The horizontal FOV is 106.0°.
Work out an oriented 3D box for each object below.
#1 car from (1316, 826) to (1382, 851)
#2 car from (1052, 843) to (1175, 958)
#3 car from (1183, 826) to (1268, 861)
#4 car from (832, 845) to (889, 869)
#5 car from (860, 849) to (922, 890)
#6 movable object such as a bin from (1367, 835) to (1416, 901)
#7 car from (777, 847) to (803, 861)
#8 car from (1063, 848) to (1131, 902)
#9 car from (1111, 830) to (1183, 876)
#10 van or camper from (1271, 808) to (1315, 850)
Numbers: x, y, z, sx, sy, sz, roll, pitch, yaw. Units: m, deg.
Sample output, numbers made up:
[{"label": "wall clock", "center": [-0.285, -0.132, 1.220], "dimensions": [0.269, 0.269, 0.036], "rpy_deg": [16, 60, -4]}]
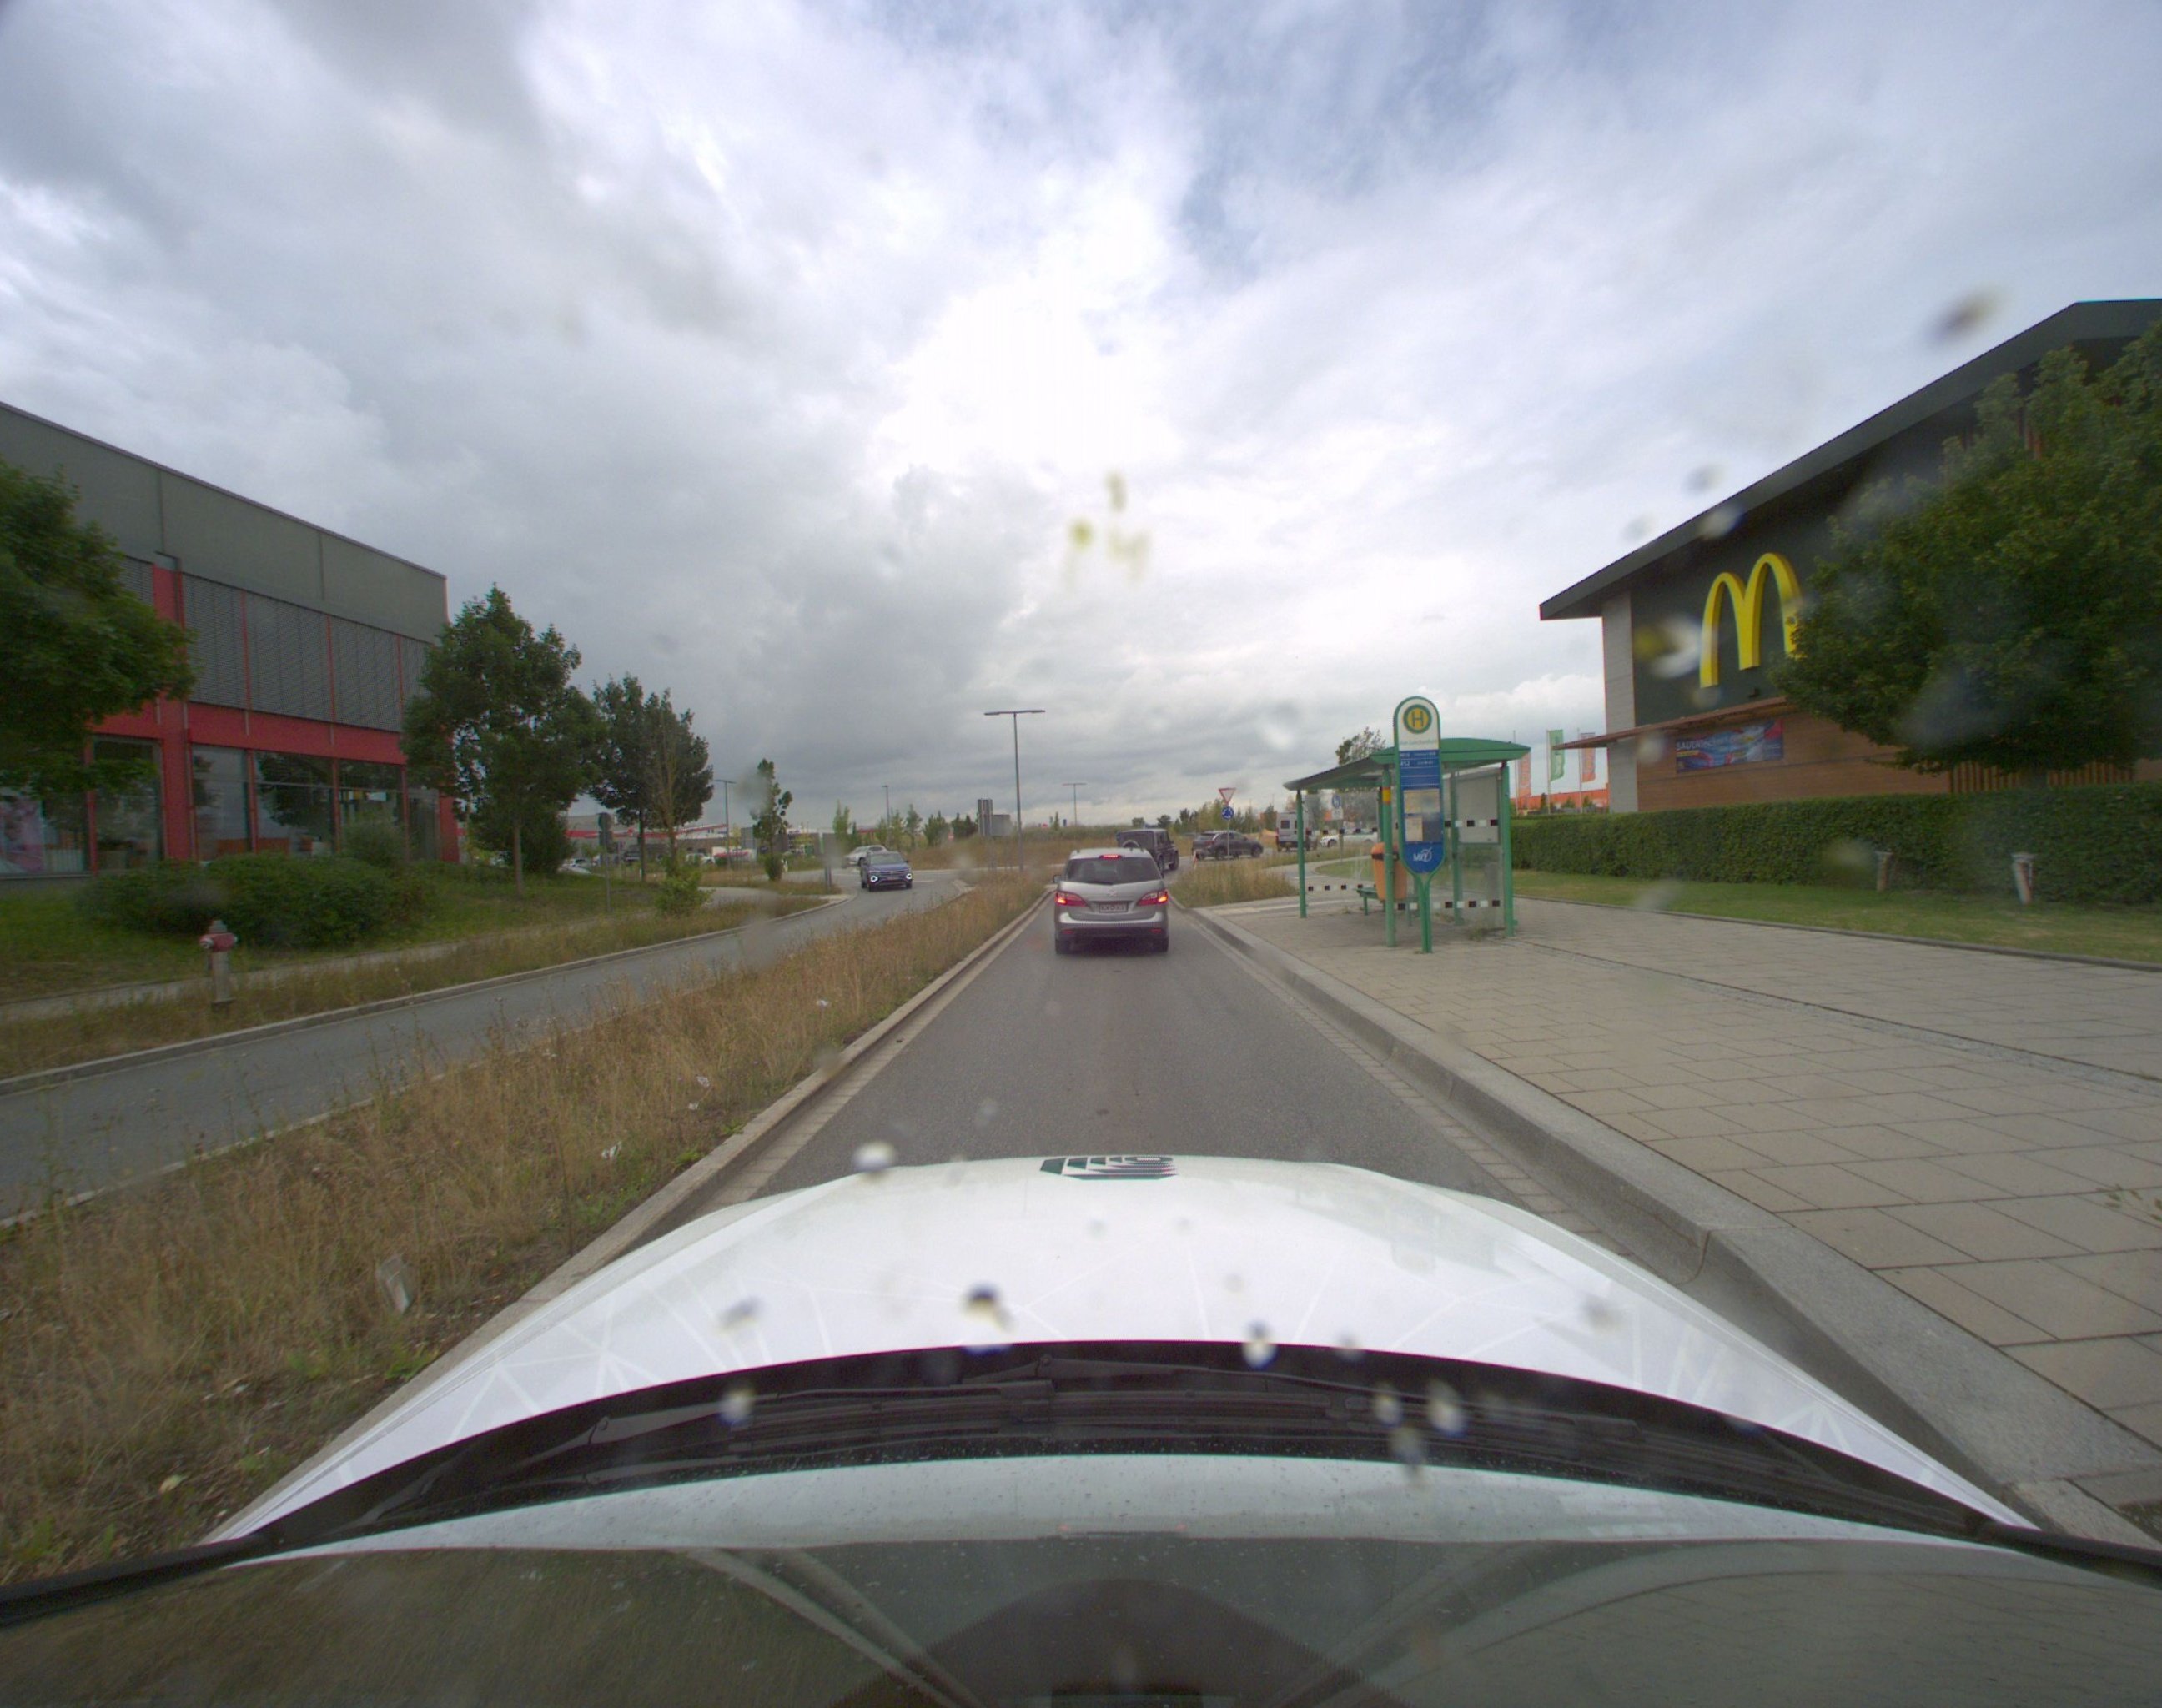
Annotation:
[{"label": "car", "center": [20.439, -1.177, 62.236], "dimensions": [4.571, 1.757, 2.007], "rpy_deg": [-2, 0, 12]}, {"label": "car", "center": [0.486, 0.636, 13.518], "dimensions": [1.724, 1.600, 3.807], "rpy_deg": [-1, 1, 1]}, {"label": "car", "center": [7.864, -0.578, 44.103], "dimensions": [4.220, 1.592, 2.044], "rpy_deg": [-4, 1, -33]}, {"label": "car", "center": [-17.176, 0.200, 63.538], "dimensions": [2.008, 1.690, 4.239], "rpy_deg": [-2, 1, 24]}, {"label": "car", "center": [-8.171, 0.682, 34.698], "dimensions": [1.849, 1.528, 4.196], "rpy_deg": [-4, 0, -22]}, {"label": "movable object such as a bin", "center": [3.912, 0.174, 10.281], "dimensions": [0.454, 0.798, 0.380], "rpy_deg": [-2, 0, 1]}, {"label": "car", "center": [-41.109, 0.014, 115.047], "dimensions": [1.985, 1.859, 4.003], "rpy_deg": [-2, 1, 3]}, {"label": "car", "center": [0.582, 0.575, 25.027], "dimensions": [1.837, 1.418, 4.229], "rpy_deg": [-2, 1, 3]}, {"label": "car", "center": [3.007, -0.064, 36.155], "dimensions": [2.041, 1.825, 4.809], "rpy_deg": [-2, 0, 18]}, {"label": "van or camper", "center": [13.833, -1.567, 52.831], "dimensions": [2.284, 2.506, 5.232], "rpy_deg": [-2, 1, 19]}]
